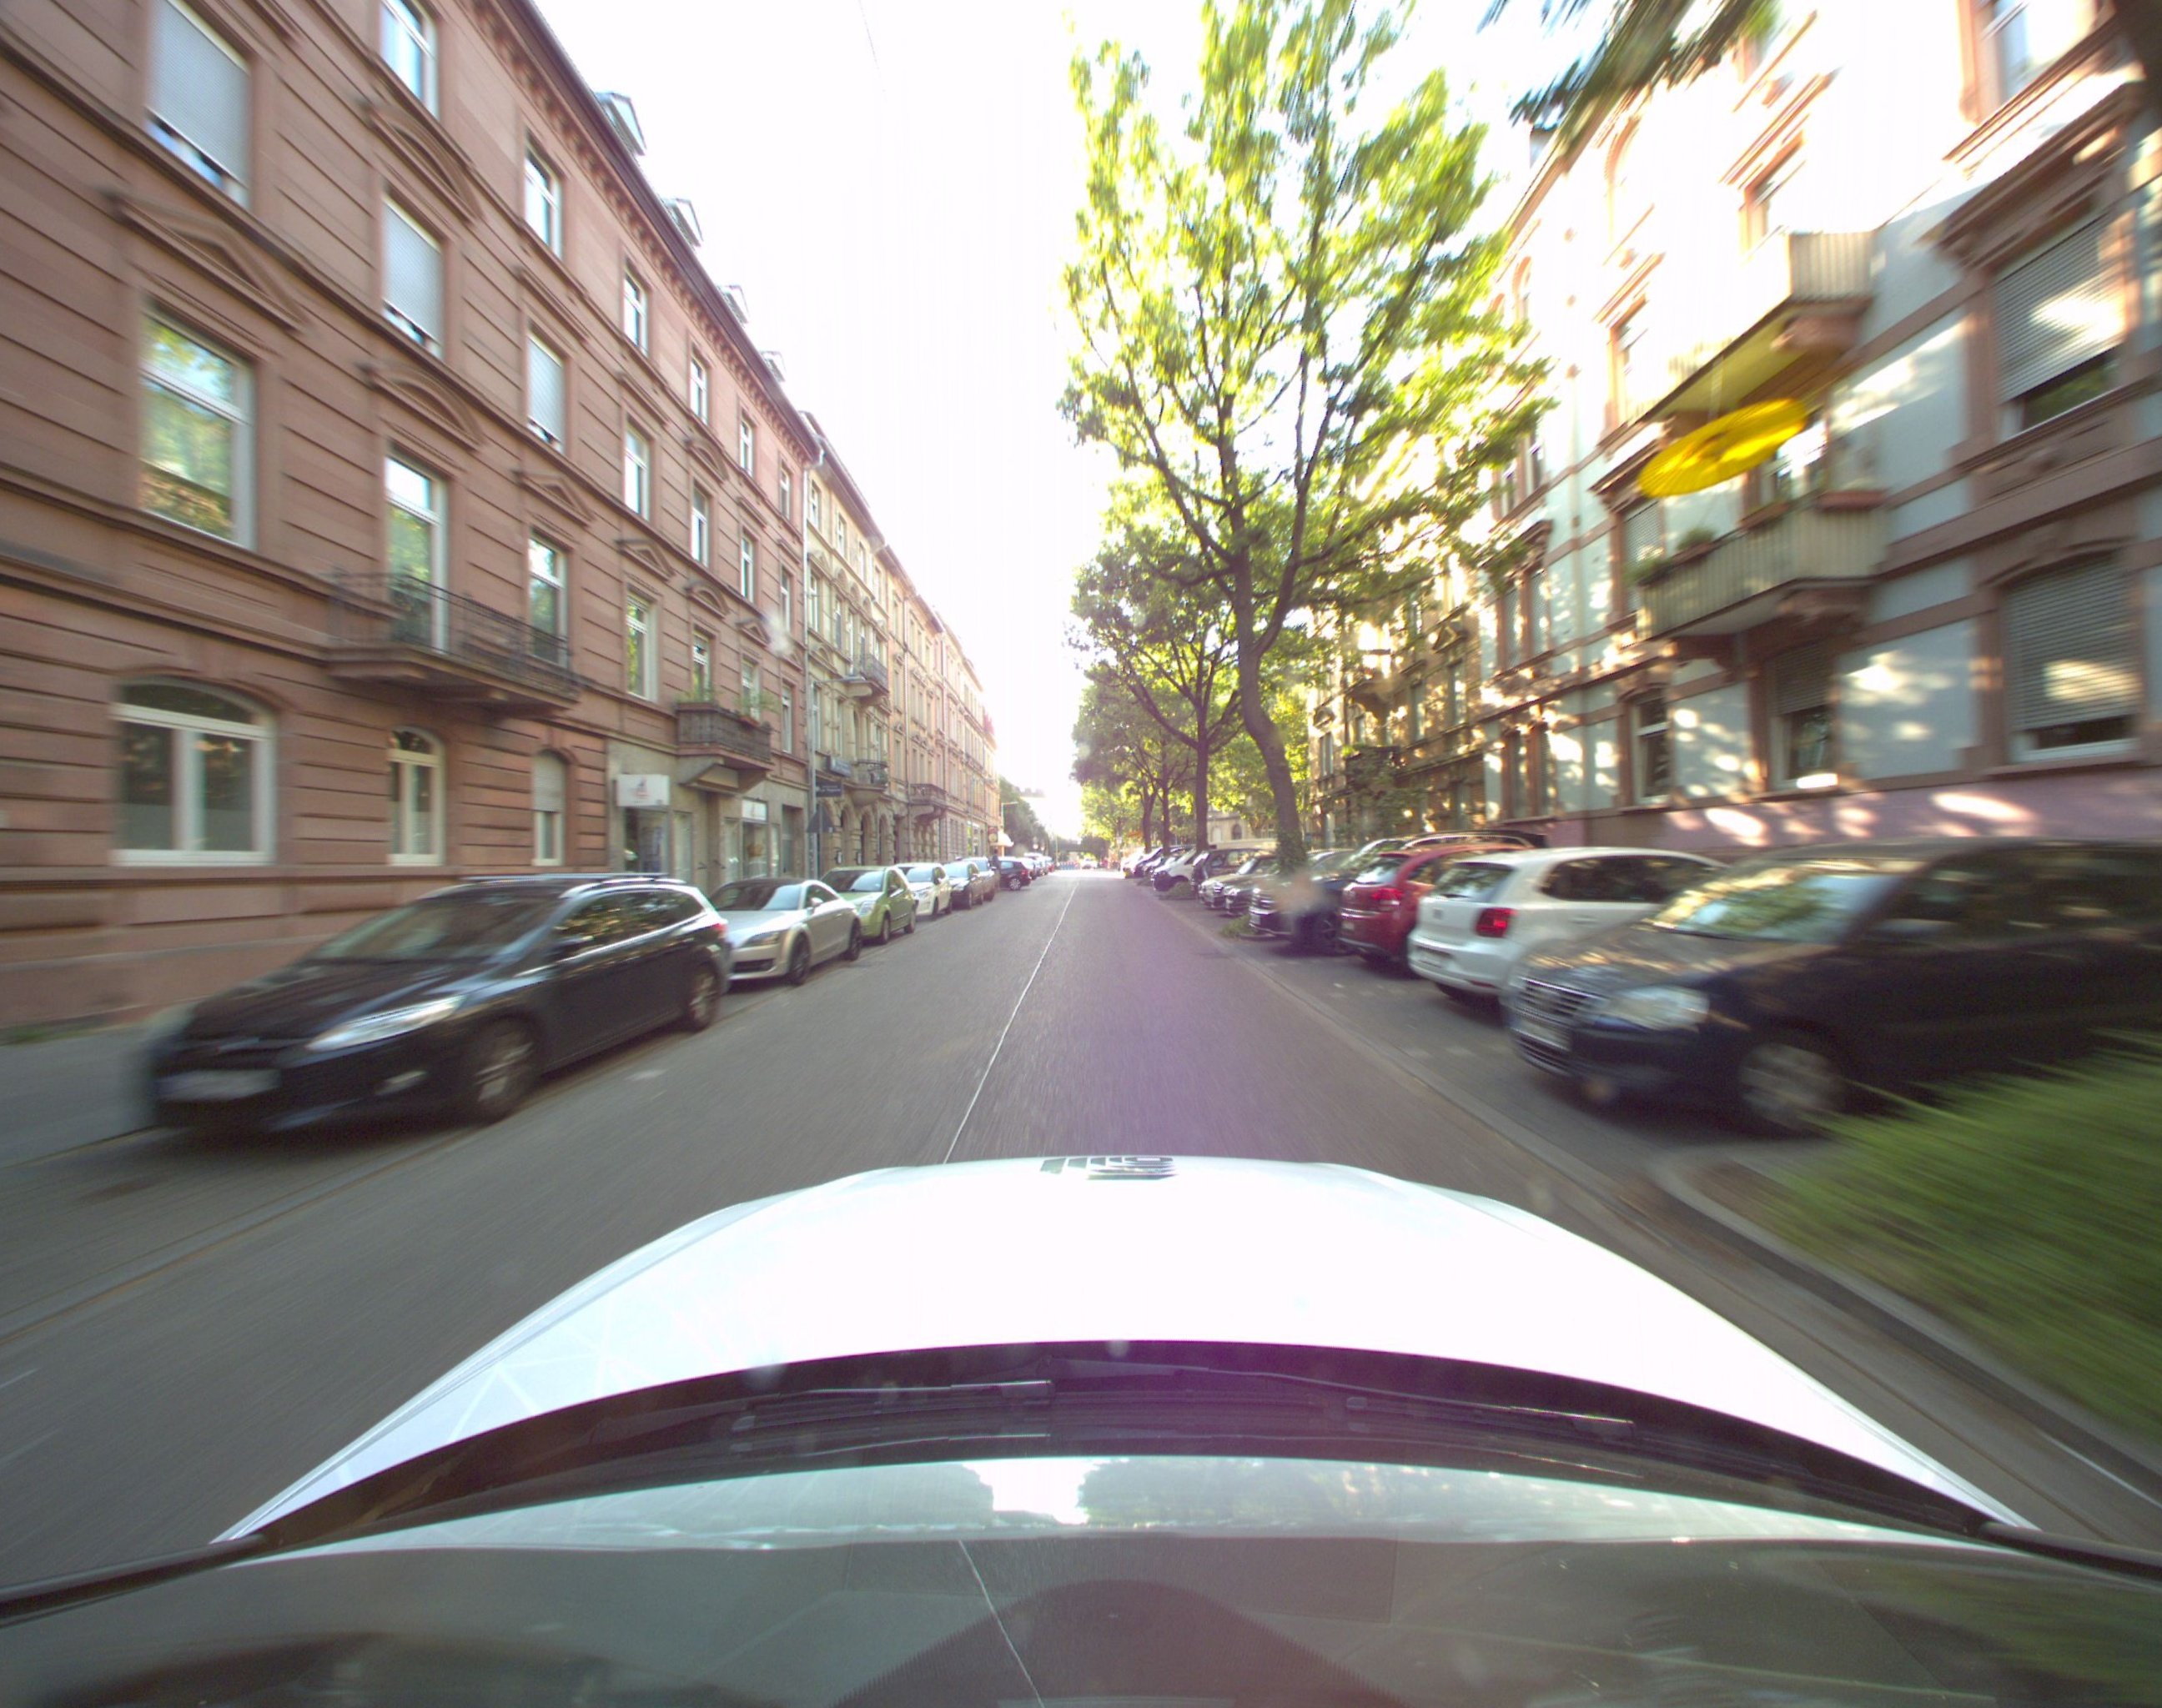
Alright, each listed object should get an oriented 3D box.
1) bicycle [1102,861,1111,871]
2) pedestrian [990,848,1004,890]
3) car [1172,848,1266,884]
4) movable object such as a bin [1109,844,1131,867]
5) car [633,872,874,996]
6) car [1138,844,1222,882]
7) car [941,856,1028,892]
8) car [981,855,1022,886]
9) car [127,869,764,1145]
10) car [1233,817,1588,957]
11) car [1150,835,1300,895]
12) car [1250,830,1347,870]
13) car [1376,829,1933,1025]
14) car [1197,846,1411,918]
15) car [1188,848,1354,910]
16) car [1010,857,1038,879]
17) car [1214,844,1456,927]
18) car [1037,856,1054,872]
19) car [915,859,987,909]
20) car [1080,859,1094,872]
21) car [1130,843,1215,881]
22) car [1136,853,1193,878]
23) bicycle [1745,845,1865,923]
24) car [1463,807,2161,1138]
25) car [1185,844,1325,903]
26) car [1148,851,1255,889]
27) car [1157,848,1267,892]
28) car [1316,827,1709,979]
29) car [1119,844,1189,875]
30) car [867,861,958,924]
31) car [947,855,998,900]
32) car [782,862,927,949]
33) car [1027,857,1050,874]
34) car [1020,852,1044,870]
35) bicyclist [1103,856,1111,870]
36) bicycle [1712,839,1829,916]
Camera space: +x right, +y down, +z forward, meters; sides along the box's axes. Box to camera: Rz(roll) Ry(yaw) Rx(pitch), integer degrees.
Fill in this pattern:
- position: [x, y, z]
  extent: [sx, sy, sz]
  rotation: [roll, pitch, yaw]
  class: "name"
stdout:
- position: [2.630, 1.219, 83.858]
  extent: [0.800, 0.968, 2.108]
  rotation: [0, 0, 0]
  class: "bicycle"
- position: [-3.883, 0.691, 37.718]
  extent: [0.589, 1.887, 0.638]
  rotation: [-2, 0, -8]
  class: "pedestrian"
- position: [6.388, 0.548, 38.063]
  extent: [4.067, 1.497, 1.843]
  rotation: [-2, 0, 1]
  class: "car"
- position: [4.824, 0.205, 100.350]
  extent: [1.979, 2.699, 3.122]
  rotation: [-1, -1, 14]
  class: "movable object such as a bin"
- position: [-4.401, 0.994, 11.700]
  extent: [1.699, 1.323, 4.101]
  rotation: [-2, 0, 1]
  class: "car"
- position: [5.412, 0.480, 44.911]
  extent: [4.259, 1.885, 1.937]
  rotation: [-2, 0, -3]
  class: "car"
- position: [-4.558, 0.940, 38.742]
  extent: [3.981, 1.529, 1.822]
  rotation: [-2, 0, -6]
  class: "car"
- position: [-4.283, 0.874, 44.349]
  extent: [1.735, 1.567, 3.895]
  rotation: [-2, 0, 1]
  class: "car"
- position: [-4.457, 0.907, 6.824]
  extent: [1.815, 1.477, 4.423]
  rotation: [0, 0, 1]
  class: "car"
- position: [4.884, 0.452, 12.492]
  extent: [4.634, 1.702, 1.879]
  rotation: [-3, 0, -3]
  class: "car"
- position: [5.178, 0.444, 29.852]
  extent: [5.074, 1.940, 2.158]
  rotation: [-2, -4, 0]
  class: "car"
- position: [14.724, -0.262, 55.403]
  extent: [5.886, 2.537, 2.375]
  rotation: [-1, 0, -6]
  class: "car"
- position: [5.080, 0.586, 7.590]
  extent: [3.978, 1.462, 1.780]
  rotation: [-2, 0, -3]
  class: "car"
- position: [5.375, 0.635, 19.906]
  extent: [4.658, 1.503, 1.926]
  rotation: [-2, 0, -9]
  class: "car"
- position: [5.153, 0.662, 22.404]
  extent: [4.097, 1.503, 1.808]
  rotation: [-2, 0, -4]
  class: "car"
- position: [-3.950, 0.949, 56.992]
  extent: [1.698, 1.454, 4.019]
  rotation: [-2, 0, -1]
  class: "car"
- position: [5.261, 0.639, 17.351]
  extent: [4.535, 1.529, 2.001]
  rotation: [-2, 0, 2]
  class: "car"
- position: [-3.571, 0.988, 82.717]
  extent: [1.665, 1.530, 3.997]
  rotation: [-1, -1, -2]
  class: "car"
- position: [-4.155, 0.921, 26.569]
  extent: [1.642, 1.473, 4.000]
  rotation: [1, 0, 0]
  class: "car"
- position: [0.778, 1.423, 101.628]
  extent: [1.743, 1.509, 4.000]
  rotation: [-2, 0, 0]
  class: "car"
- position: [5.244, 0.448, 47.177]
  extent: [4.603, 2.013, 1.998]
  rotation: [-2, 0, -2]
  class: "car"
- position: [5.827, 0.801, 57.259]
  extent: [3.828, 1.595, 1.741]
  rotation: [-2, 0, 0]
  class: "car"
- position: [10.535, 0.403, 11.926]
  extent: [0.323, 1.050, 1.706]
  rotation: [-2, 0, 4]
  class: "bicycle"
- position: [4.699, 0.557, 4.880]
  extent: [3.975, 1.388, 1.677]
  rotation: [-4, 0, -1]
  class: "car"
- position: [5.328, 0.580, 25.158]
  extent: [3.877, 1.649, 1.722]
  rotation: [-2, 0, -5]
  class: "car"
- position: [5.158, 0.688, 35.347]
  extent: [4.354, 1.455, 1.934]
  rotation: [-2, 0, 0]
  class: "car"
- position: [5.218, 0.624, 32.679]
  extent: [3.983, 1.474, 1.777]
  rotation: [-3, 0, -7]
  class: "car"
- position: [5.211, 0.550, 10.187]
  extent: [3.978, 1.590, 1.780]
  rotation: [-2, 0, -3]
  class: "car"
- position: [5.370, 0.383, 60.160]
  extent: [4.957, 2.096, 2.106]
  rotation: [-2, 0, 0]
  class: "car"
- position: [-4.494, 0.979, 22.239]
  extent: [1.576, 1.473, 4.000]
  rotation: [-2, 0, 0]
  class: "car"
- position: [-4.154, 0.856, 31.583]
  extent: [1.644, 1.574, 4.044]
  rotation: [1, 0, -4]
  class: "car"
- position: [-4.381, 0.935, 16.379]
  extent: [1.699, 1.439, 3.959]
  rotation: [-2, 0, 1]
  class: "car"
- position: [-3.771, 1.000, 72.384]
  extent: [1.719, 1.437, 3.996]
  rotation: [0, 0, 1]
  class: "car"
- position: [-4.004, 0.576, 67.168]
  extent: [1.759, 1.437, 4.299]
  rotation: [-1, 0, -1]
  class: "car"
- position: [2.638, 0.937, 83.805]
  extent: [0.800, 1.383, 0.985]
  rotation: [0, -1, 0]
  class: "bicyclist"
- position: [10.139, 0.325, 12.044]
  extent: [0.363, 1.050, 1.706]
  rotation: [-2, 0, 4]
  class: "bicycle"
